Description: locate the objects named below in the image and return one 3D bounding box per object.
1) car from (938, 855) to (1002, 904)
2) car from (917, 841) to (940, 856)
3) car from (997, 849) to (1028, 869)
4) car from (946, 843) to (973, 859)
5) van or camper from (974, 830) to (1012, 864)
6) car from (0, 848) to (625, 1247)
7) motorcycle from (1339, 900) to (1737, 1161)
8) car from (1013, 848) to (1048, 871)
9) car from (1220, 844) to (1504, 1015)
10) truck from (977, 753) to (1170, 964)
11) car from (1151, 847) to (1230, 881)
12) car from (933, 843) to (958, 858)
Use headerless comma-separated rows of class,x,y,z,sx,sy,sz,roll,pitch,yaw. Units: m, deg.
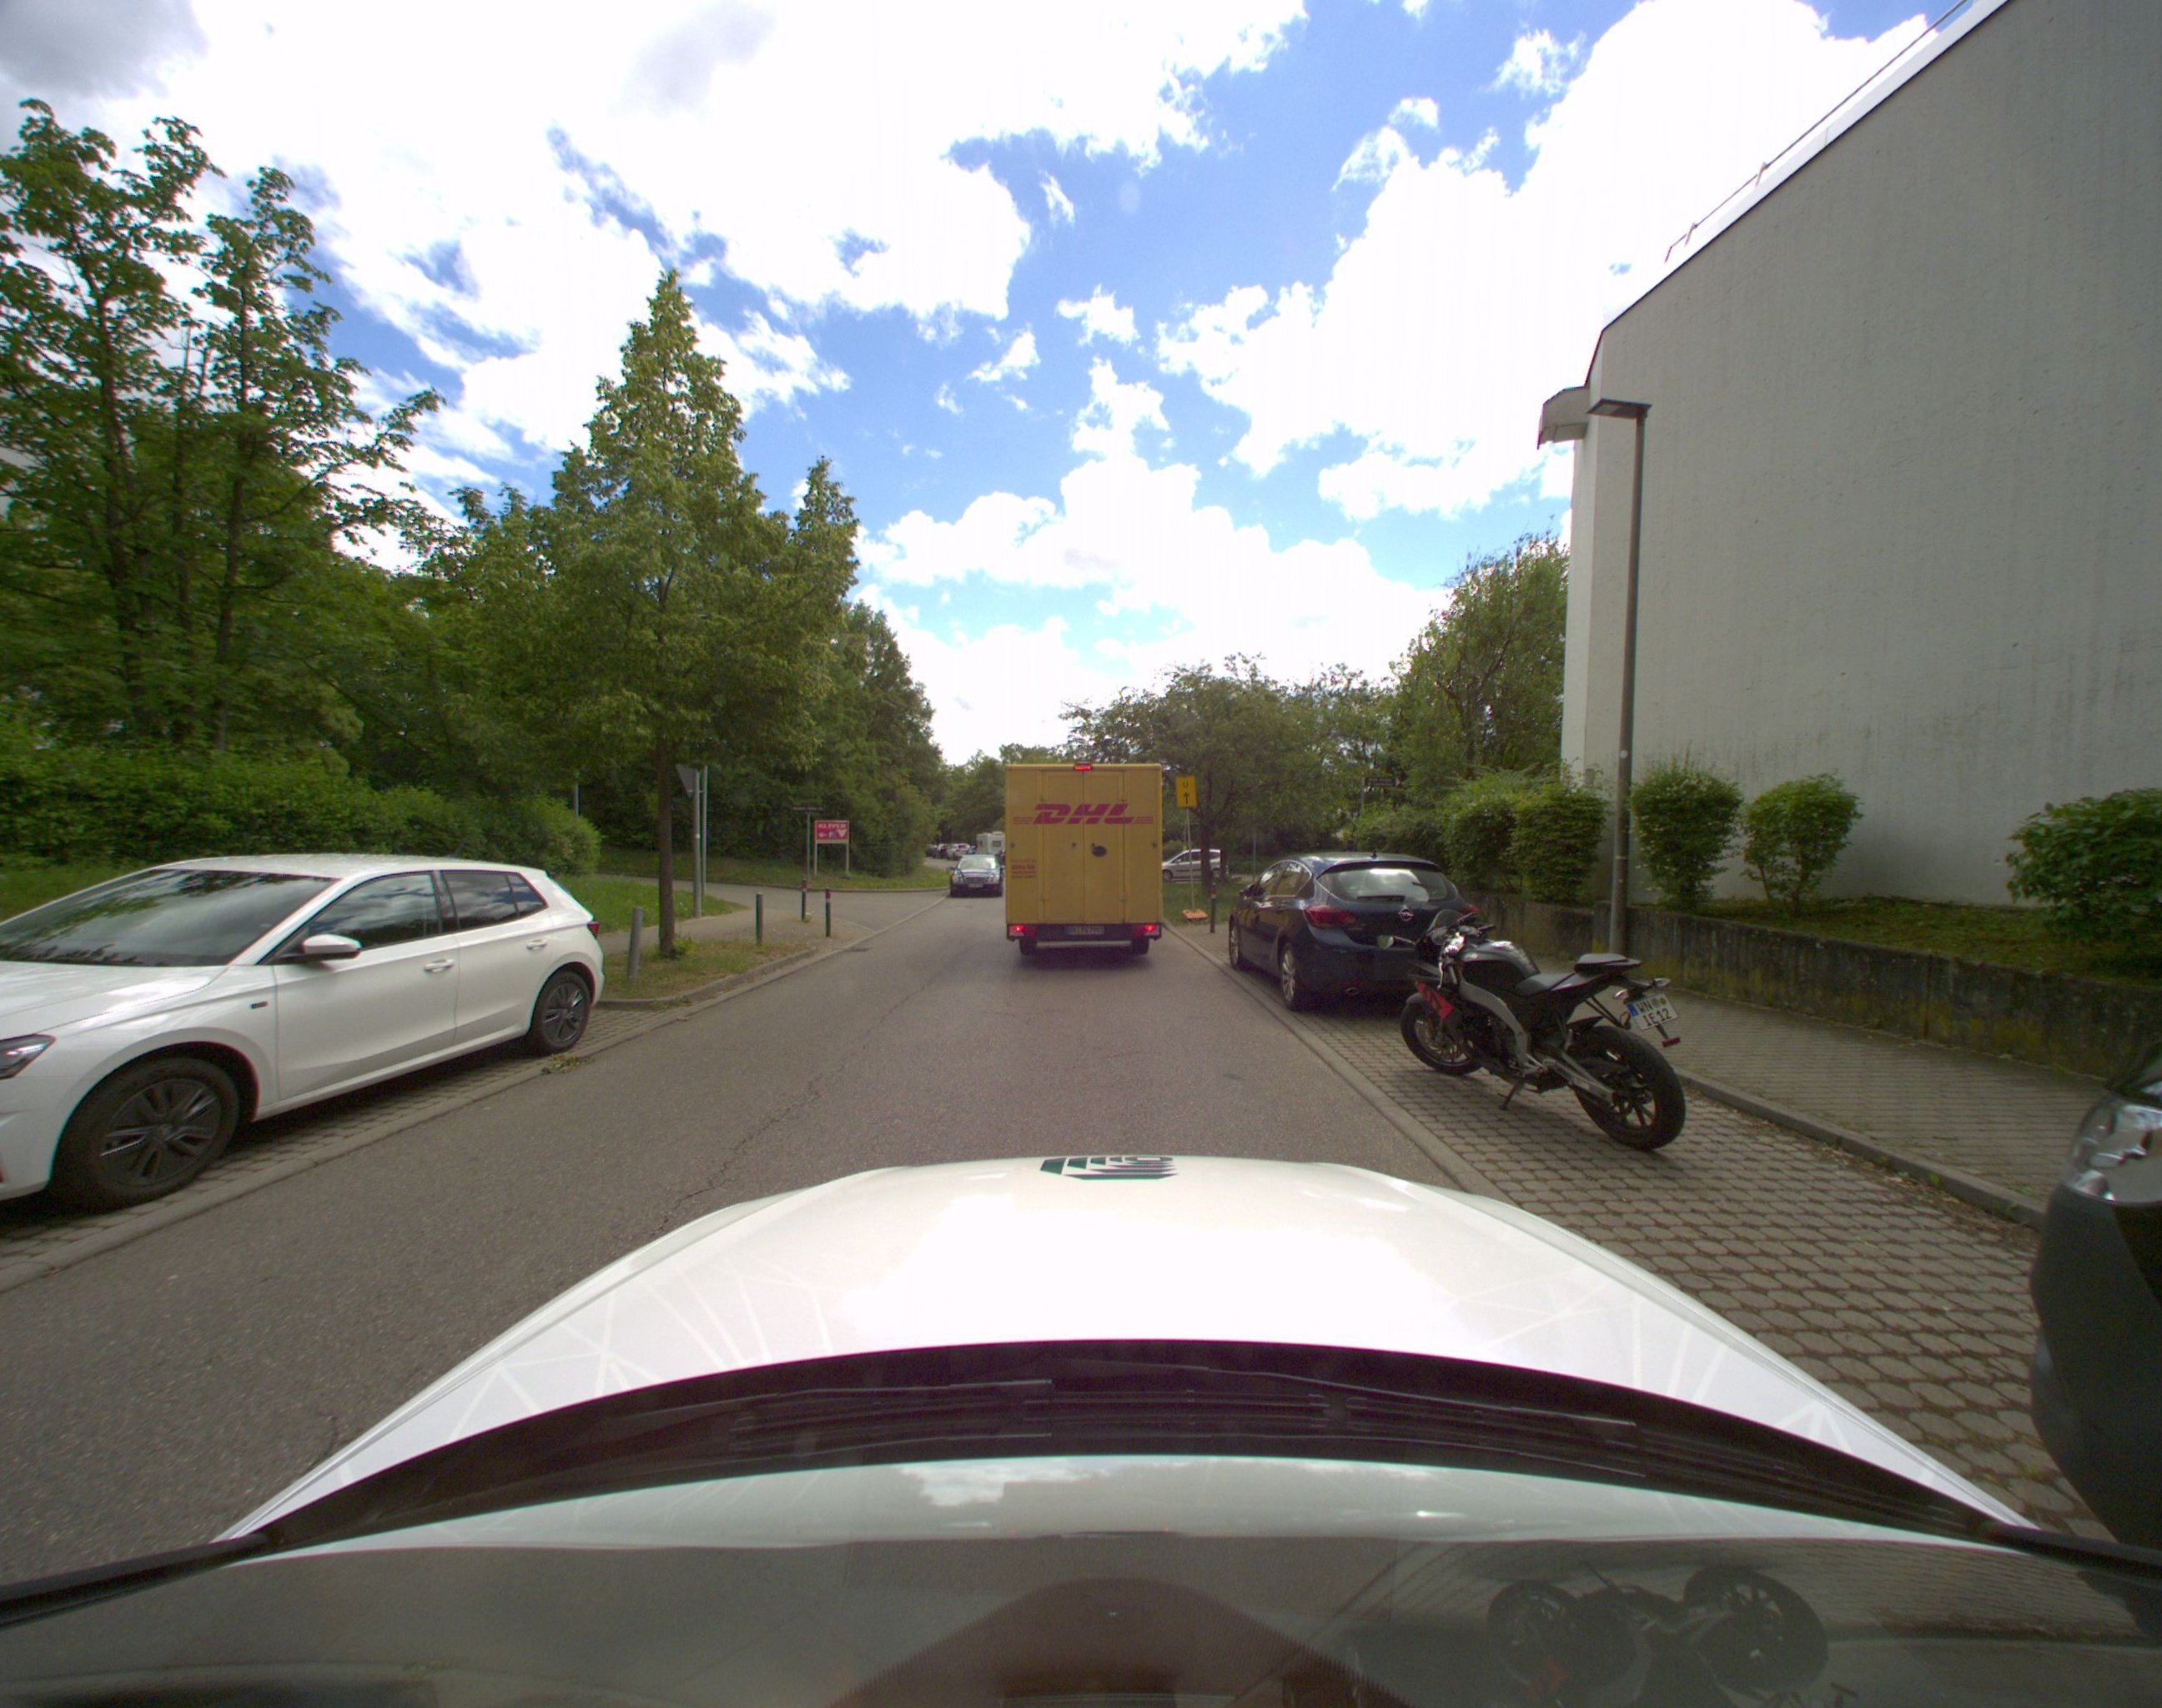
car,-3.446,0.752,25.790,1.671,1.355,3.964,1,0,-4
car,-18.454,-0.653,98.292,1.852,1.613,3.969,1,2,-24
car,-5.716,0.388,67.775,1.847,1.529,3.980,1,2,-15
car,-13.008,-0.336,87.126,1.852,1.529,3.969,1,2,-24
van or camper,-8.108,-0.684,74.584,2.331,2.871,5.227,1,2,-19
car,-4.732,0.701,4.847,1.668,1.436,3.971,1,0,2
motorcycle,2.443,0.851,4.763,0.899,1.111,2.076,1,-2,-11
car,-3.795,0.382,60.578,1.847,1.529,3.980,1,2,-15
car,2.746,0.668,8.951,1.723,1.433,3.967,1,-1,-1
truck,-0.155,0.034,14.008,2.459,2.702,6.821,-1,0,-1
car,5.267,0.470,39.605,3.617,1.486,1.692,1,1,1
car,-15.455,-0.395,92.723,1.852,1.613,3.969,1,2,-24
